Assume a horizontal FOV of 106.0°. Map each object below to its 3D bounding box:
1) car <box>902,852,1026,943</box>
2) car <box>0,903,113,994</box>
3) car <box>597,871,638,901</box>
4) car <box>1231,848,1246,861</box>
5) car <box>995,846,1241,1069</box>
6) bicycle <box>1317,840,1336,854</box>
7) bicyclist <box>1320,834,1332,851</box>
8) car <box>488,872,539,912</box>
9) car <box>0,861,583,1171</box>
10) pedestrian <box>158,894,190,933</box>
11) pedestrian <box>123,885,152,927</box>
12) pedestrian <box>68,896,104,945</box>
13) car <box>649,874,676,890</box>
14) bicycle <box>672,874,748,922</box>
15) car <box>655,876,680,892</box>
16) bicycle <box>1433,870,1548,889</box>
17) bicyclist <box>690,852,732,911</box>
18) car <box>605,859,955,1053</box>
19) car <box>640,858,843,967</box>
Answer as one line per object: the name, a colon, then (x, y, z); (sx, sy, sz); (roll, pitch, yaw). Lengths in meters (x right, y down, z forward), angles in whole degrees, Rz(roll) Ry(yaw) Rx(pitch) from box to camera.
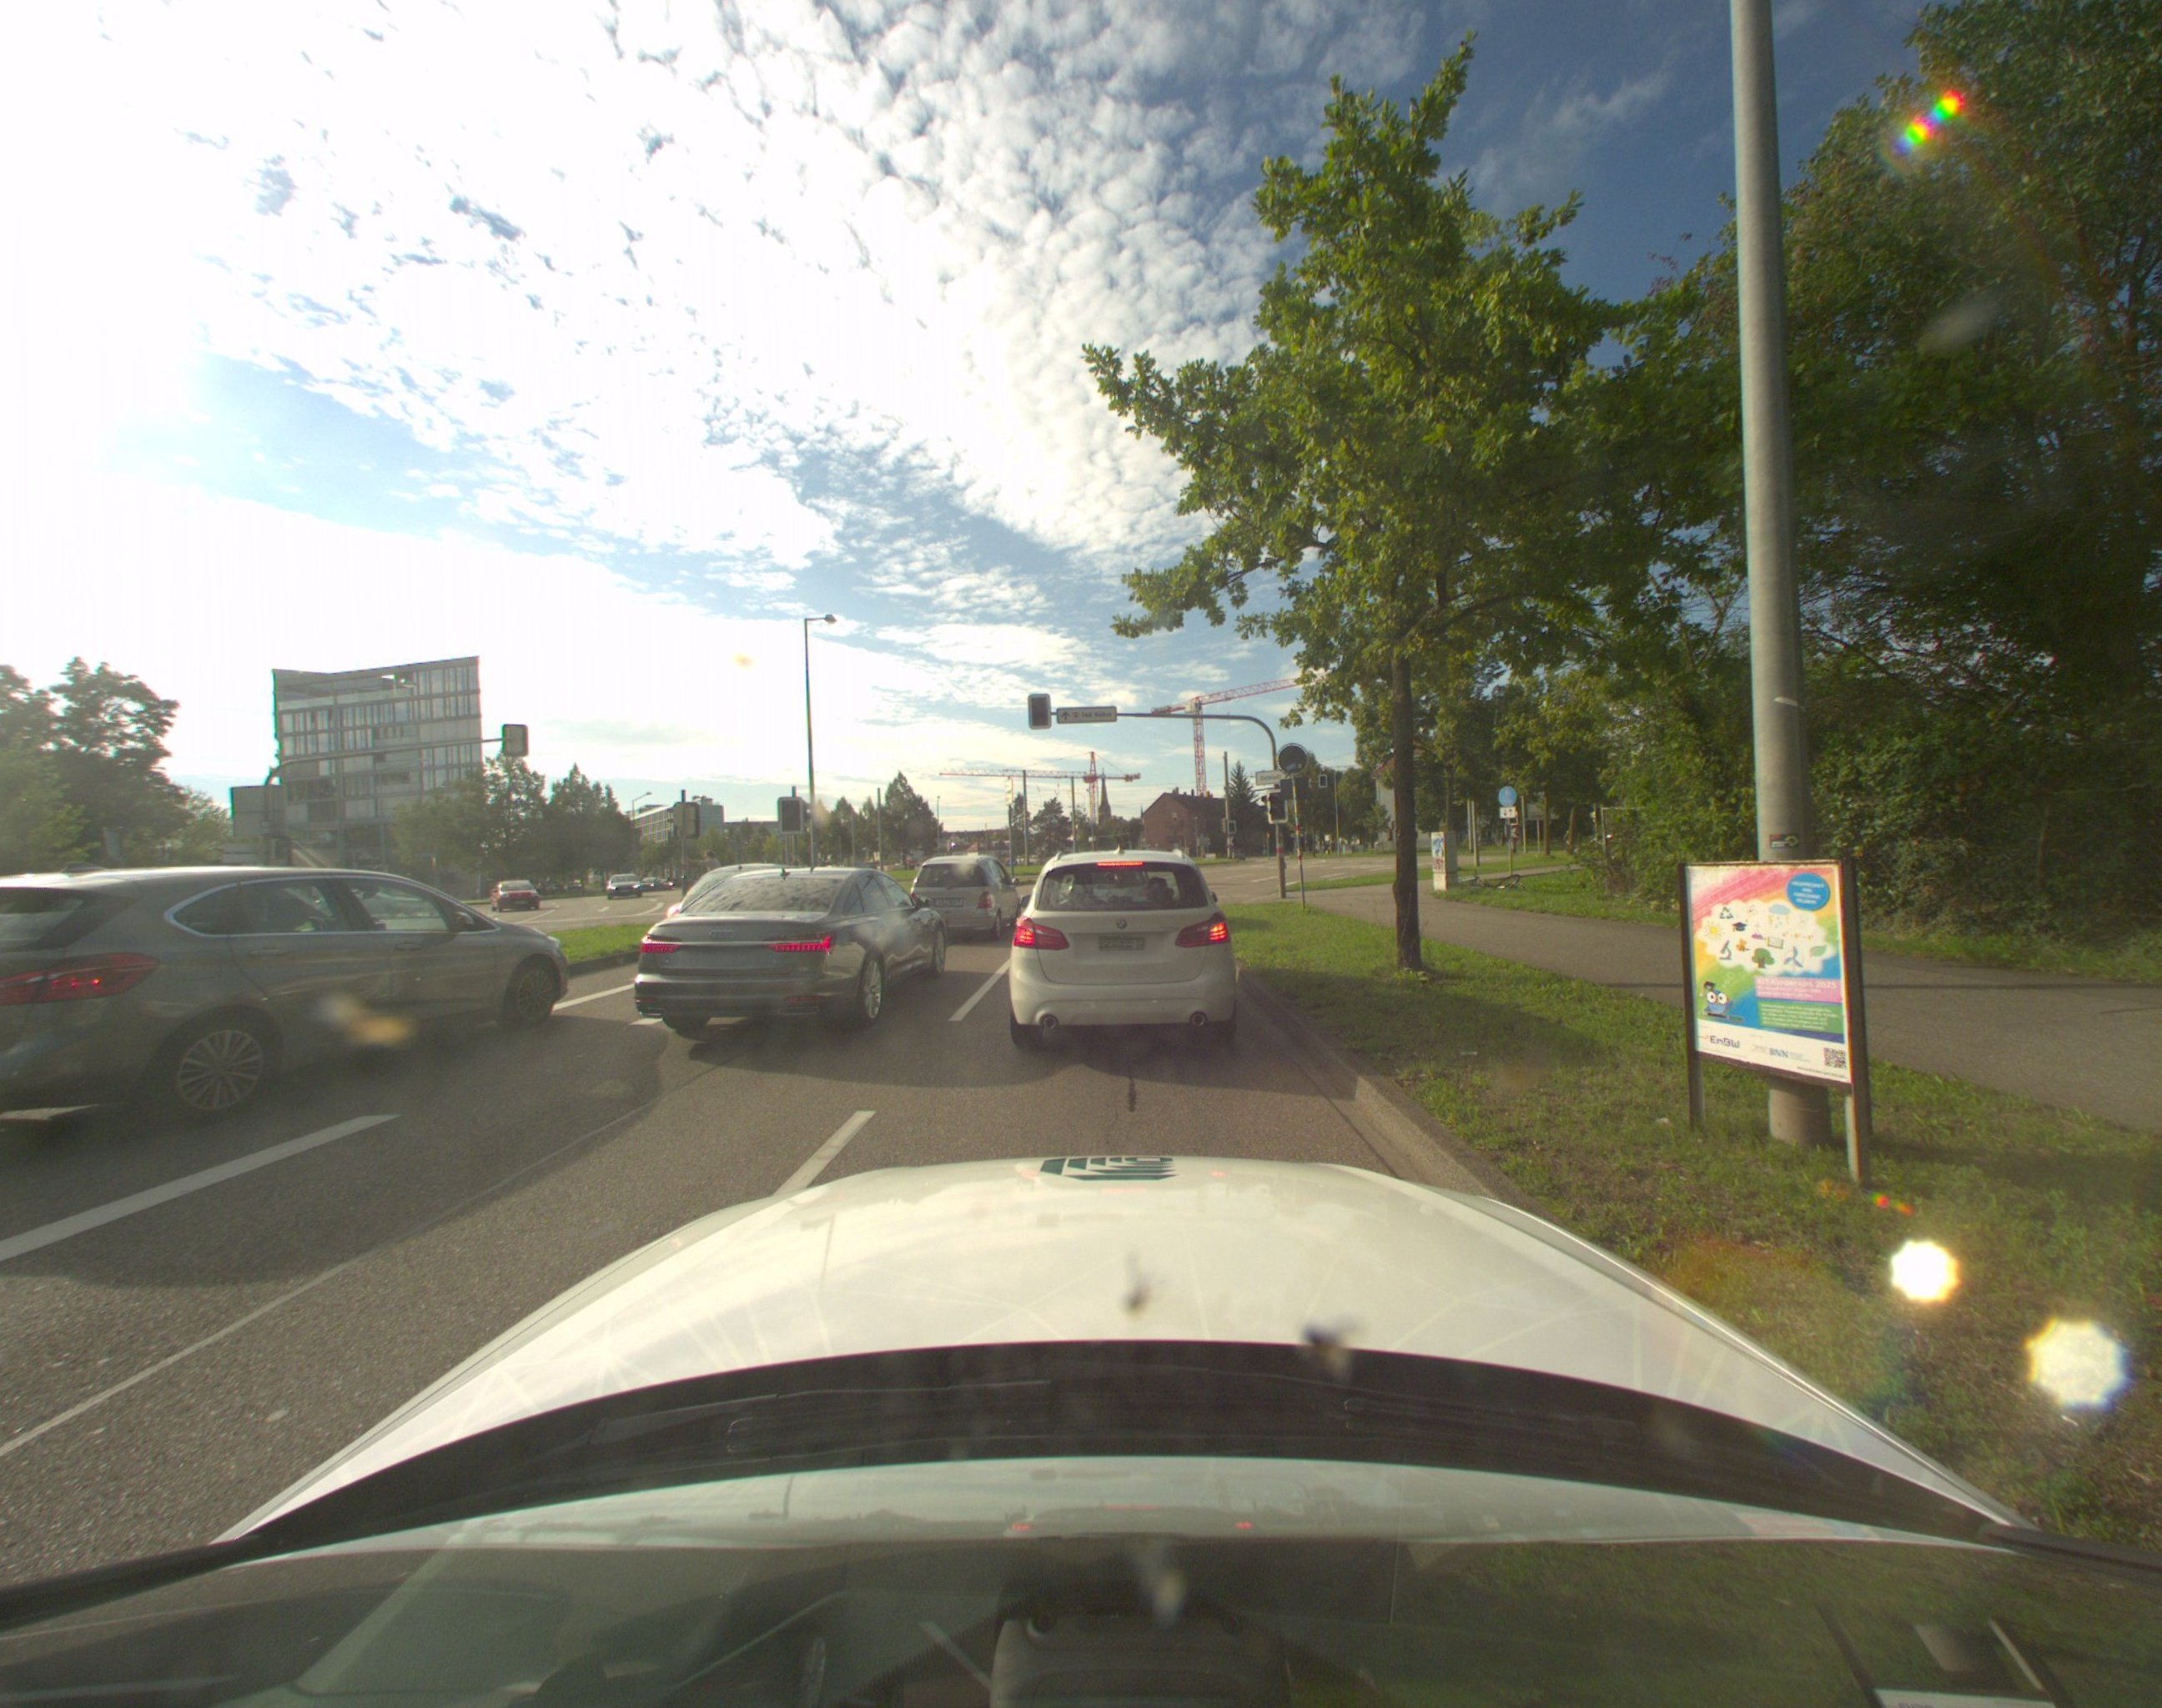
car: (-2.198, 0.768, 16.383); (1.722, 1.558, 4.060); (-1, 0, 2)
car: (-19.066, 1.710, 13.030); (1.900, 1.433, 4.230); (-5, 0, 2)
car: (-27.025, 1.815, 47.596); (1.715, 1.573, 3.966); (-3, 0, -25)
car: (20.828, 0.104, 107.699); (1.558, 1.574, 3.212); (-3, 0, 15)
car: (0.324, 0.744, 7.847); (1.723, 1.558, 4.059); (-1, 0, 2)
bicycle: (29.815, -0.833, 99.010); (0.898, 1.530, 2.268); (0, -2, -28)
bicyclist: (29.792, -1.424, 99.055); (0.824, 2.014, 1.213); (0, -2, -28)
car: (-27.287, 1.794, 39.105); (1.720, 1.769, 3.954); (-2, 0, -38)
car: (-5.960, 0.859, 6.193); (1.722, 1.558, 4.021); (-1, 0, 2)
pedestrian: (-38.009, 2.478, 34.119); (0.650, 1.569, 0.617); (-3, -1, 10)
pedestrian: (-46.870, 2.559, 40.439); (0.923, 2.013, 0.886); (-3, -1, 40)
pedestrian: (-33.058, 2.194, 27.076); (0.596, 1.581, 0.573); (3, -2, -41)
car: (-45.259, 2.983, 88.170); (1.790, 1.575, 3.978); (-3, 0, -16)
bicycle: (-9.991, 1.170, 21.976); (1.728, 1.163, 0.652); (-2, -1, -15)
car: (-49.686, 3.612, 97.715); (1.722, 1.691, 3.952); (-2, 0, -41)
bicycle: (10.458, 0.637, 20.964); (1.407, 0.385, 2.568); (-3, 0, -9)
bicyclist: (-9.978, 0.728, 21.990); (0.850, 1.526, 0.737); (-3, -1, -15)
car: (-2.724, 0.823, 8.702); (1.883, 1.483, 4.614); (-1, -1, 2)
car: (-5.438, 0.846, 13.600); (1.674, 1.523, 3.811); (-1, 0, 1)
